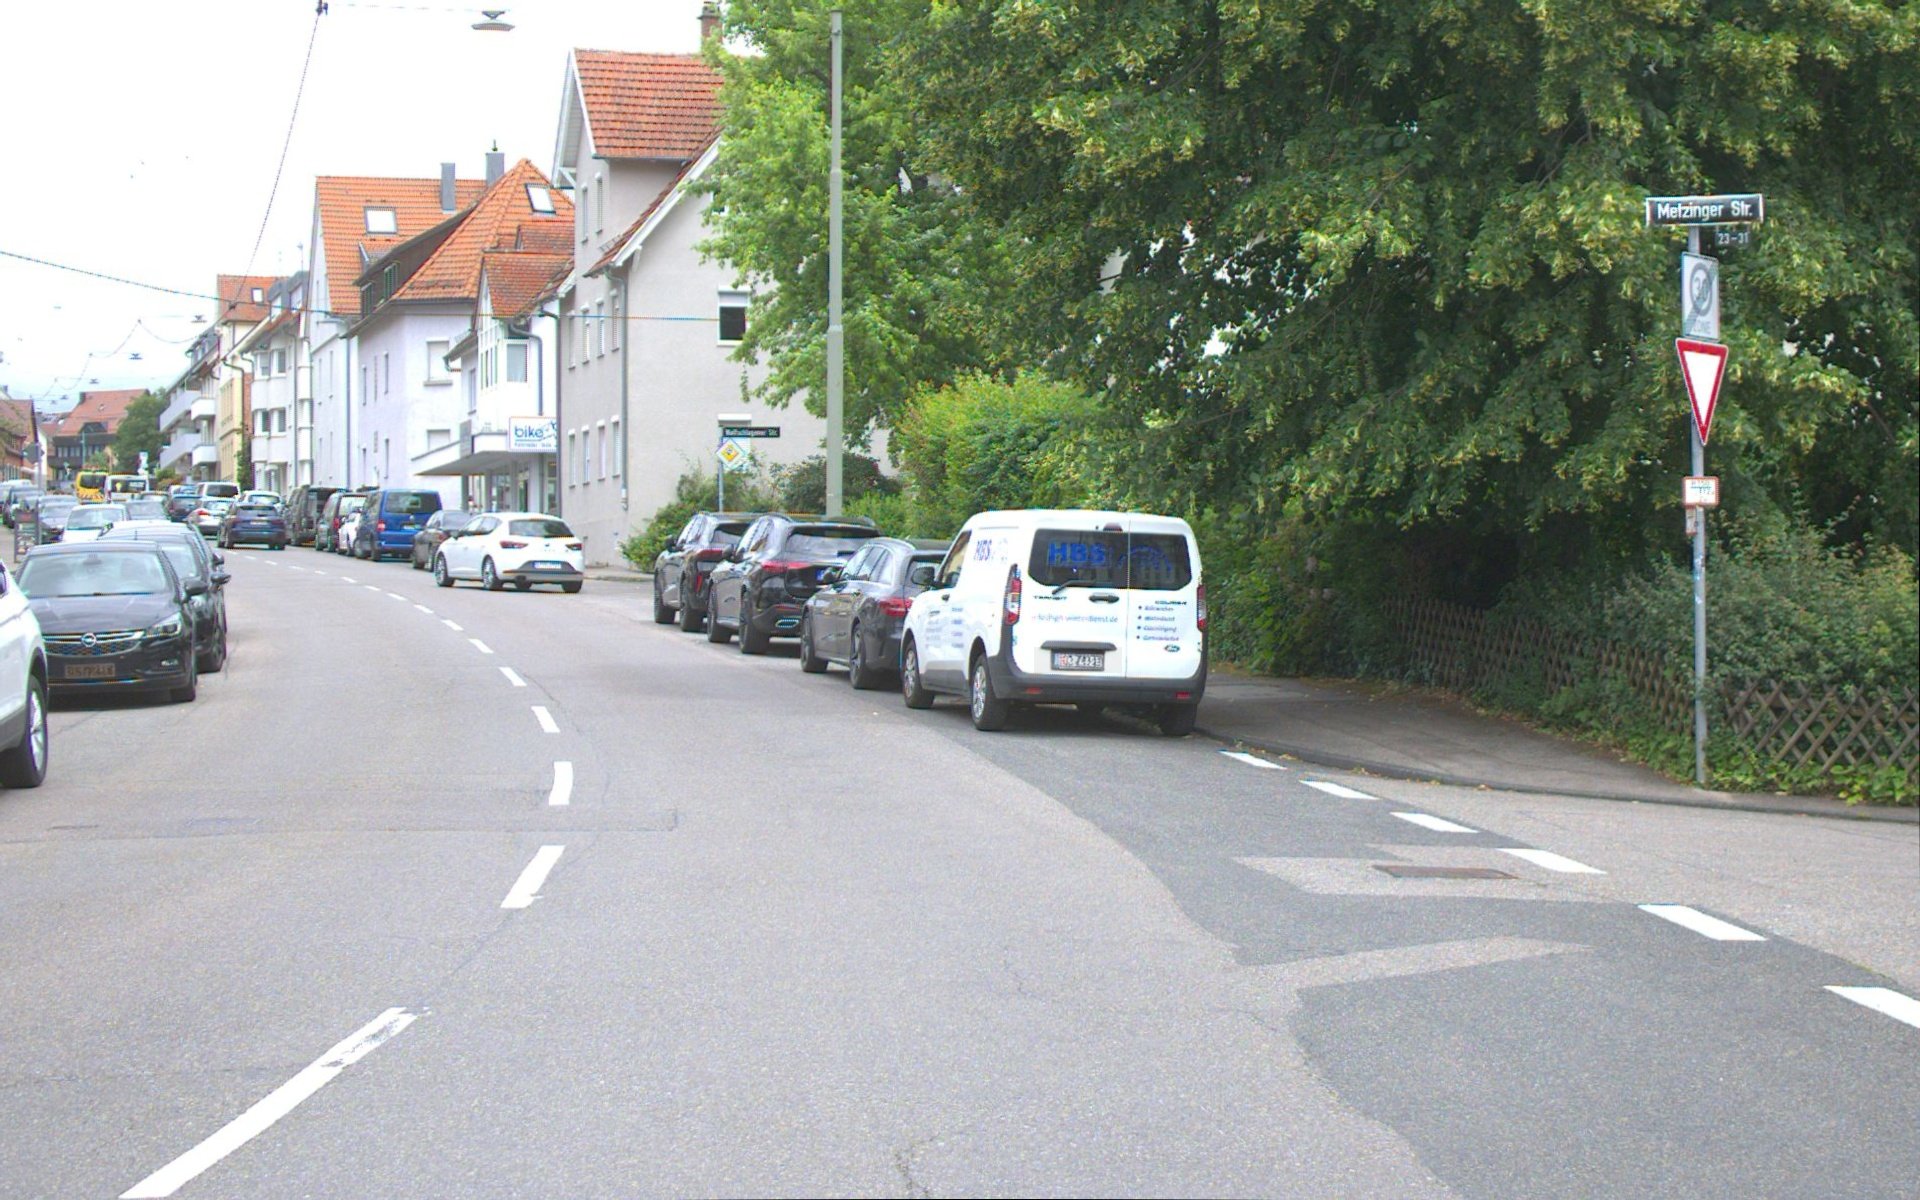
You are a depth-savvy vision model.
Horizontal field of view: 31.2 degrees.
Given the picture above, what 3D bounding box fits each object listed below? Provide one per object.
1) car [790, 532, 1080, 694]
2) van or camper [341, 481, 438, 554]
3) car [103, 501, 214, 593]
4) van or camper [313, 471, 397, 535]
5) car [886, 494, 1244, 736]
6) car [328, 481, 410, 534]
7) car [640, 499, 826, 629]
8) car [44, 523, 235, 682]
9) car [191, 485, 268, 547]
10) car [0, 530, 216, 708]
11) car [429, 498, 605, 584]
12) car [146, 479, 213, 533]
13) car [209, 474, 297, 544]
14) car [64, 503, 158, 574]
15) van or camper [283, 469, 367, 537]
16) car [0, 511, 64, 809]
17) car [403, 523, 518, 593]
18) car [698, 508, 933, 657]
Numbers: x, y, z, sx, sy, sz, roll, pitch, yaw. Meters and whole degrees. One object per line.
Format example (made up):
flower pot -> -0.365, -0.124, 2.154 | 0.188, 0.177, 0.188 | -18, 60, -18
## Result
car -> -0.335, 0.075, 34.305 | 1.993, 1.473, 4.622 | 0, 1, -12
van or camper -> -15.501, -2.252, 93.255 | 1.926, 1.919, 4.832 | 1, 1, -17
car -> -14.014, -0.951, 59.996 | 1.725, 1.453, 3.900 | -4, 2, -14
van or camper -> -18.432, -2.976, 104.618 | 1.870, 1.822, 4.682 | 2, 2, -17
car -> 0.779, 0.059, 28.783 | 1.837, 1.768, 4.319 | 2, 2, -14
car -> -17.055, -2.683, 99.032 | 1.713, 1.431, 4.641 | 2, 2, -17
car -> -3.115, -0.517, 46.358 | 1.810, 1.610, 4.541 | 2, 1, -12
car -> -8.636, -0.020, 36.453 | 1.762, 1.433, 4.080 | -4, 3, -12
car -> -25.037, -2.901, 117.764 | 2.151, 2.007, 4.002 | 1, 1, -17
car -> -7.781, 0.118, 31.644 | 1.762, 1.433, 4.080 | -2, 2, -12
car -> -8.157, -1.101, 63.095 | 1.940, 1.434, 4.001 | 0, 2, -27
car -> -30.377, -3.673, 133.737 | 2.151, 2.007, 4.002 | 1, 1, -17
car -> -21.449, -2.780, 104.203 | 2.151, 2.007, 4.002 | 1, 1, -17
car -> -20.701, -1.514, 83.946 | 1.833, 1.572, 4.033 | -3, 3, -9
van or camper -> -20.768, -3.202, 112.279 | 1.993, 2.058, 5.947 | 2, 1, -17
car -> -6.442, 0.363, 19.685 | 1.849, 1.708, 4.576 | -1, 2, -6
car -> -11.997, -1.019, 82.355 | 1.993, 1.512, 4.893 | 2, 1, -17
car -> -1.788, -0.248, 40.888 | 1.993, 1.610, 4.541 | 2, 1, -12
